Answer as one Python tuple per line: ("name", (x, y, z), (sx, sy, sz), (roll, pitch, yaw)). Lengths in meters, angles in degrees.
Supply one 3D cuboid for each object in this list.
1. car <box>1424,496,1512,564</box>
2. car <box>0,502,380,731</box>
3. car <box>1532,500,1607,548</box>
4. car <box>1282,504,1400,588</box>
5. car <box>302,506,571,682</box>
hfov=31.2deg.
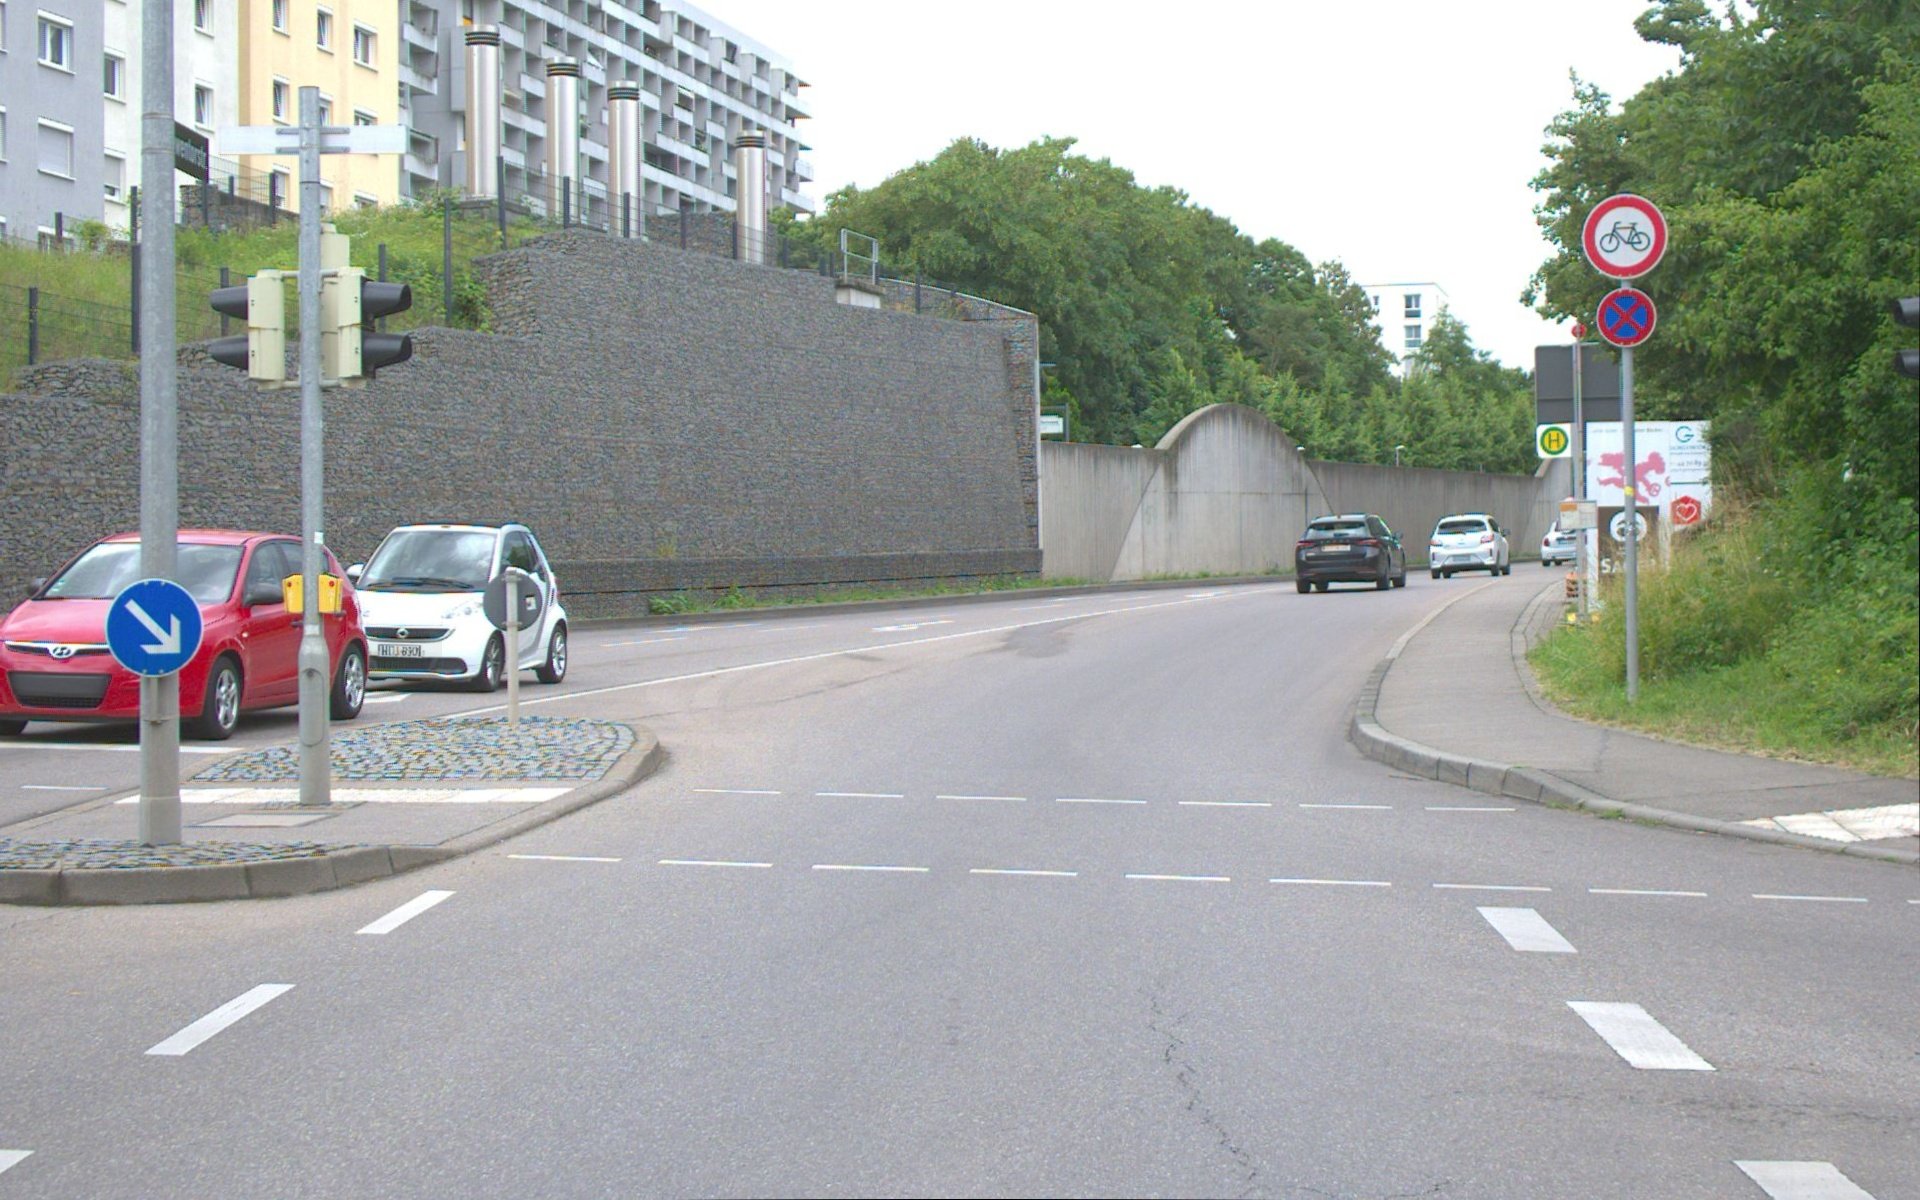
("car", (12.308, -1.678, 83.130), (1.755, 1.518, 4.034), (1, 0, 13))
("car", (-5.785, 0.103, 25.271), (1.755, 1.518, 4.091), (1, 0, 9))
("car", (19.512, -2.425, 109.898), (1.868, 1.485, 4.253), (1, 1, 17))
("car", (7.390, -1.023, 66.411), (1.755, 1.518, 4.034), (1, 0, 13))
("car", (-4.783, -0.096, 31.720), (1.544, 1.518, 2.913), (1, 2, 11))
